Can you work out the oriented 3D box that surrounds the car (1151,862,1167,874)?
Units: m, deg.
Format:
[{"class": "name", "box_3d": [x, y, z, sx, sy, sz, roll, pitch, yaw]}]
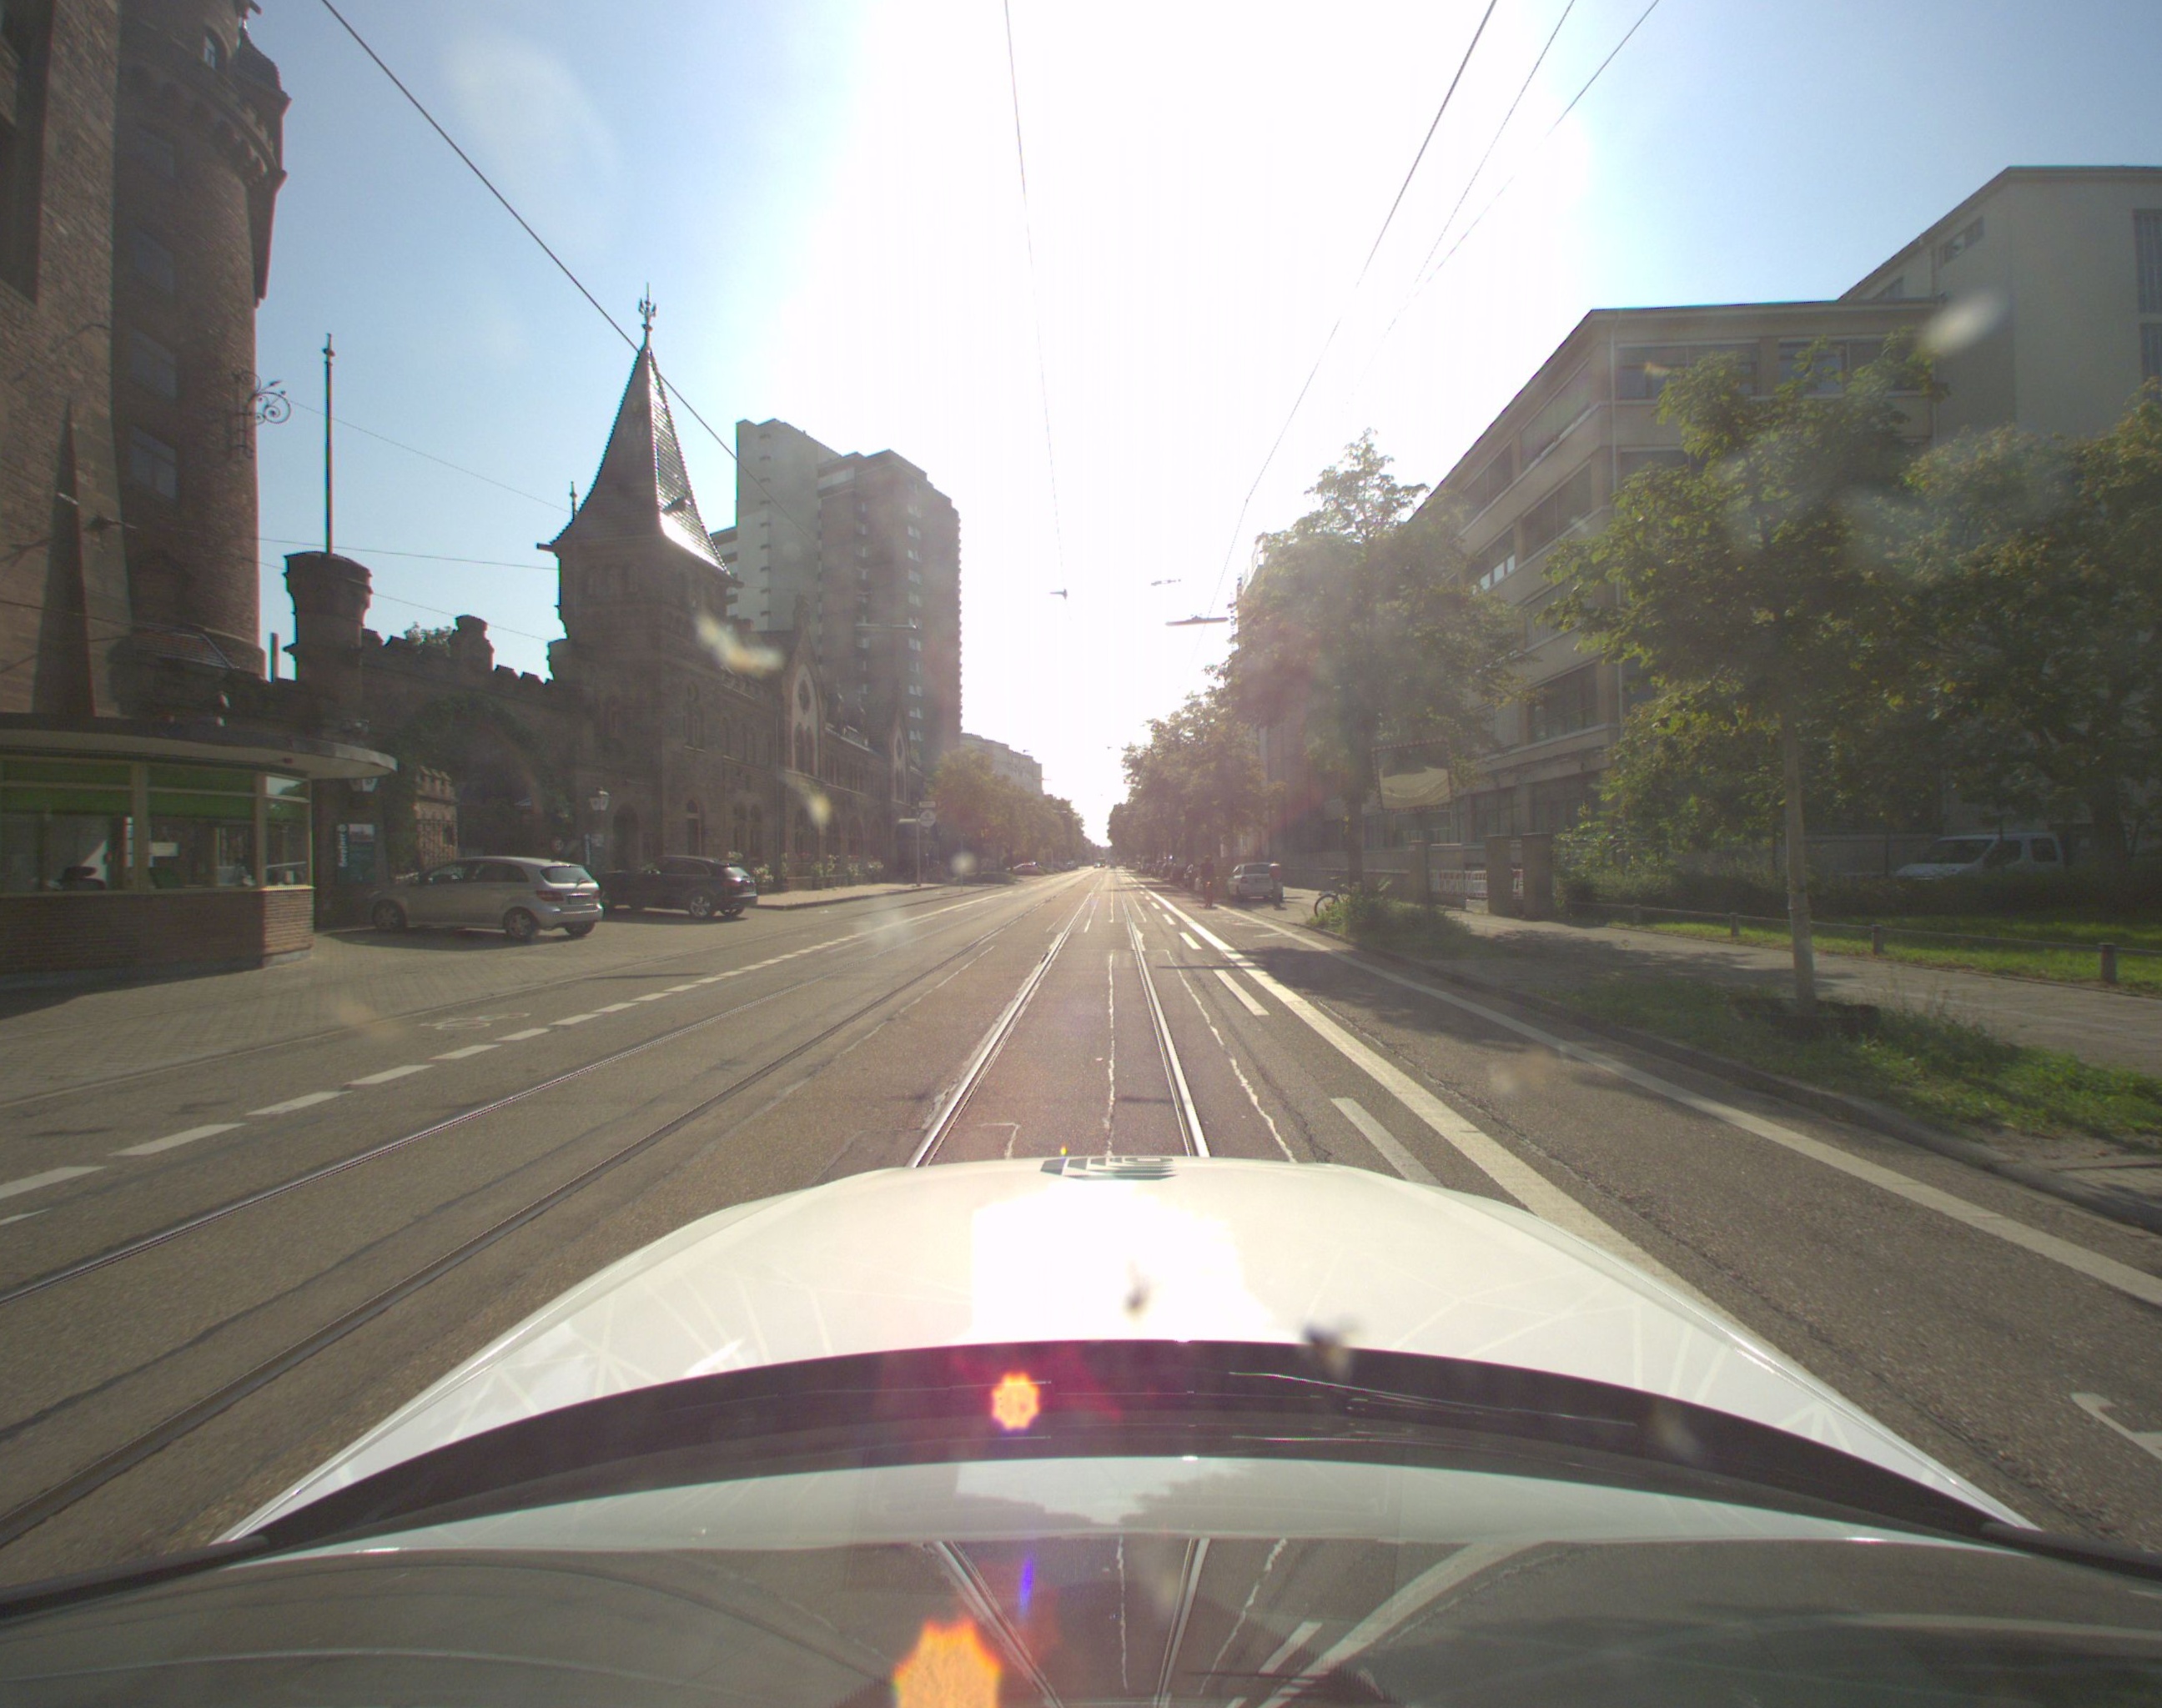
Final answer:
[{"class": "car", "box_3d": [9.178, 1.633, 95.930, 1.610, 1.413, 4.002, -2, -1, 3]}]

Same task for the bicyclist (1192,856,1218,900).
[{"class": "bicyclist", "box_3d": [4.256, 0.822, 28.047, 0.783, 1.470, 1.117, -1, -1, 4]}]

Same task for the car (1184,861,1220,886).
[{"class": "car", "box_3d": [7.436, 1.188, 50.221, 1.640, 1.428, 4.086, -2, -1, 1]}]

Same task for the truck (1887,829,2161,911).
[{"class": "truck", "box_3d": [28.024, 0.456, 23.842, 6.540, 2.215, 2.122, -1, -1, 2]}]

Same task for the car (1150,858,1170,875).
[{"class": "car", "box_3d": [8.244, 1.268, 85.177, 1.747, 1.691, 4.396, 0, 0, 0]}]

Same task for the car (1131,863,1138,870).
[{"class": "car", "box_3d": [11.933, 2.848, 182.330, 1.588, 1.418, 3.637, -1, -1, 3]}]

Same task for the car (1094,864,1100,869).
[{"class": "car", "box_3d": [4.424, 3.515, 225.055, 1.822, 1.376, 4.514, -1, -1, 1]}]

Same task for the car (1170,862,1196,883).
[{"class": "car", "box_3d": [7.698, 1.384, 61.775, 1.639, 1.511, 3.780, -3, -1, 3]}]

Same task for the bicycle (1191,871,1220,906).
[{"class": "bicycle", "box_3d": [4.256, 1.162, 28.049, 0.783, 1.144, 2.307, -1, -1, 4]}]

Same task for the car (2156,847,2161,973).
[{"class": "car", "box_3d": [5.334, 0.674, 1.169, 1.735, 1.486, 4.438, -2, 0, 1]}]

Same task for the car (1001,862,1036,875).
[{"class": "car", "box_3d": [-7.714, 1.796, 100.890, 4.009, 1.479, 1.773, 0, -1, -28]}]

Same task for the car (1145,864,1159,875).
[{"class": "car", "box_3d": [9.197, 2.022, 105.720, 1.610, 1.374, 4.830, -2, -1, 3]}]

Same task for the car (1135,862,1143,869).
[{"class": "car", "box_3d": [11.982, 2.425, 168.632, 1.682, 1.418, 3.637, -1, -1, 3]}]

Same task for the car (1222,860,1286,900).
[{"class": "car", "box_3d": [6.695, 0.988, 31.842, 1.634, 1.430, 3.989, -2, -1, 0]}]

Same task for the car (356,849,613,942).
[{"class": "car", "box_3d": [-12.060, 0.798, 16.637, 3.881, 1.596, 1.824, 3, 0, 4]}]

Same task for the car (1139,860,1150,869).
[{"class": "car", "box_3d": [10.522, 1.807, 135.302, 1.746, 1.377, 4.721, -3, -1, 2]}]

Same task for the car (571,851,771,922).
[{"class": "car", "box_3d": [-11.185, 0.867, 22.463, 4.384, 1.646, 1.956, 3, -1, -1]}]

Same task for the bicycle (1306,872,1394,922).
[{"class": "bicycle", "box_3d": [6.322, 0.992, 19.199, 1.763, 1.064, 0.796, -3, -1, 0]}]

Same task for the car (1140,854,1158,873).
[{"class": "car", "box_3d": [9.633, 1.335, 116.156, 2.075, 2.552, 5.502, -4, -1, 1]}]

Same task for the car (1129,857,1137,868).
[{"class": "car", "box_3d": [13.416, 2.204, 210.558, 1.996, 2.491, 4.479, -1, -2, 3]}]

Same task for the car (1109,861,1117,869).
[{"class": "car", "box_3d": [8.073, 2.746, 206.888, 1.985, 1.838, 4.003, -1, -1, 3]}]

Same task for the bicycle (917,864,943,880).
[{"class": "bicycle", "box_3d": [-11.210, 1.329, 60.570, 1.808, 1.074, 0.418, 4, -3, -20]}]

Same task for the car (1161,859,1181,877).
[{"class": "car", "box_3d": [8.250, 1.250, 74.811, 1.569, 1.485, 3.741, -2, 0, 3]}]
